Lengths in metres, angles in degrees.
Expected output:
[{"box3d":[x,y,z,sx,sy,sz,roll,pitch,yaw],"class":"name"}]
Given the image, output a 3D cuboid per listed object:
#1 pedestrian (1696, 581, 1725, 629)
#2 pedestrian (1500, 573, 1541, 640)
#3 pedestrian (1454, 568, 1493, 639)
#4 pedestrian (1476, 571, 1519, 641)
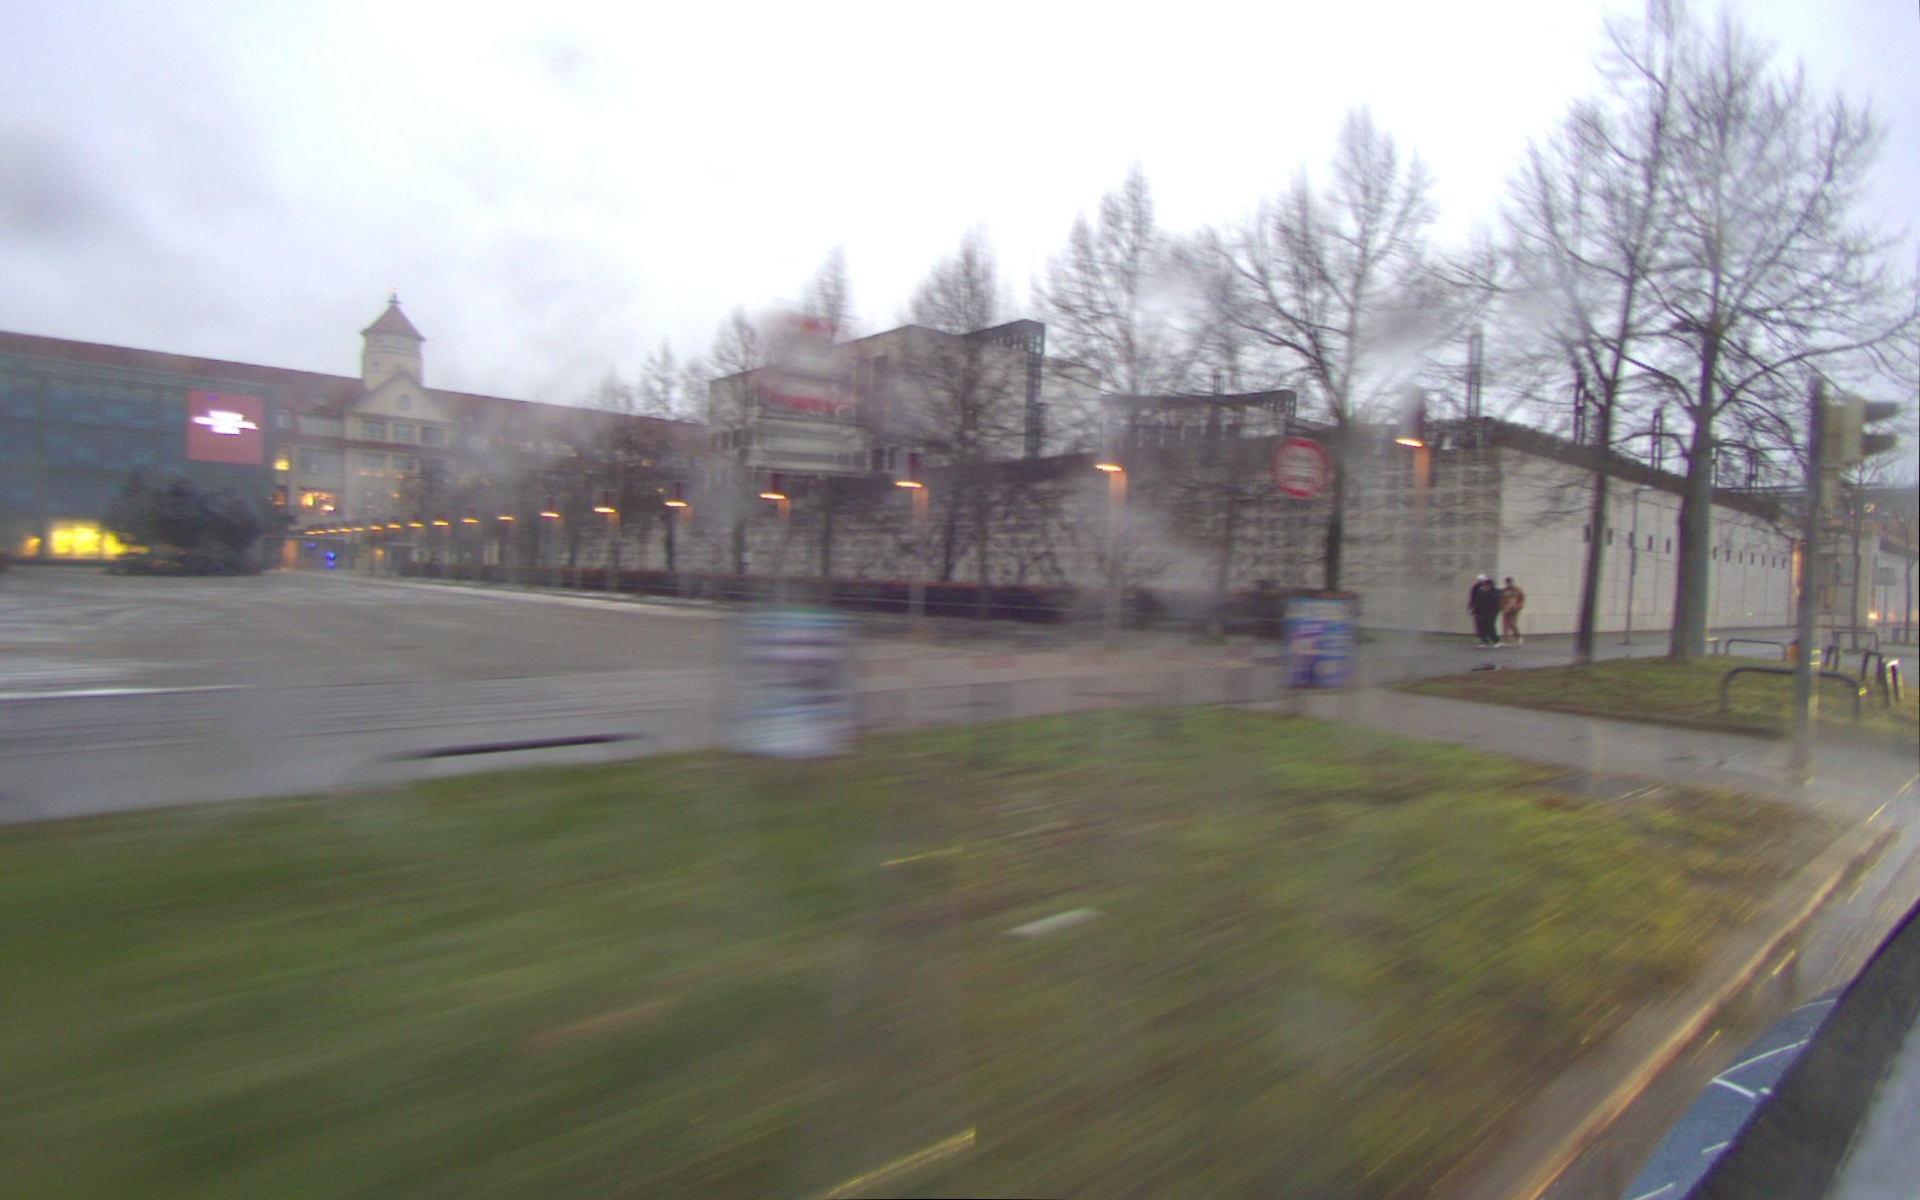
[{"box3d":[27.031,0.181,36.458,0.667,1.675,0.979,3,3,44],"class":"pedestrian"},{"box3d":[13.993,0.156,25.260,0.602,1.632,0.676,0,0,-26],"class":"pedestrian"},{"box3d":[13.424,0.089,26.454,0.602,1.800,0.676,0,0,-27],"class":"pedestrian"},{"box3d":[12.828,0.145,24.146,0.601,1.646,0.676,0,-1,-25],"class":"pedestrian"}]
